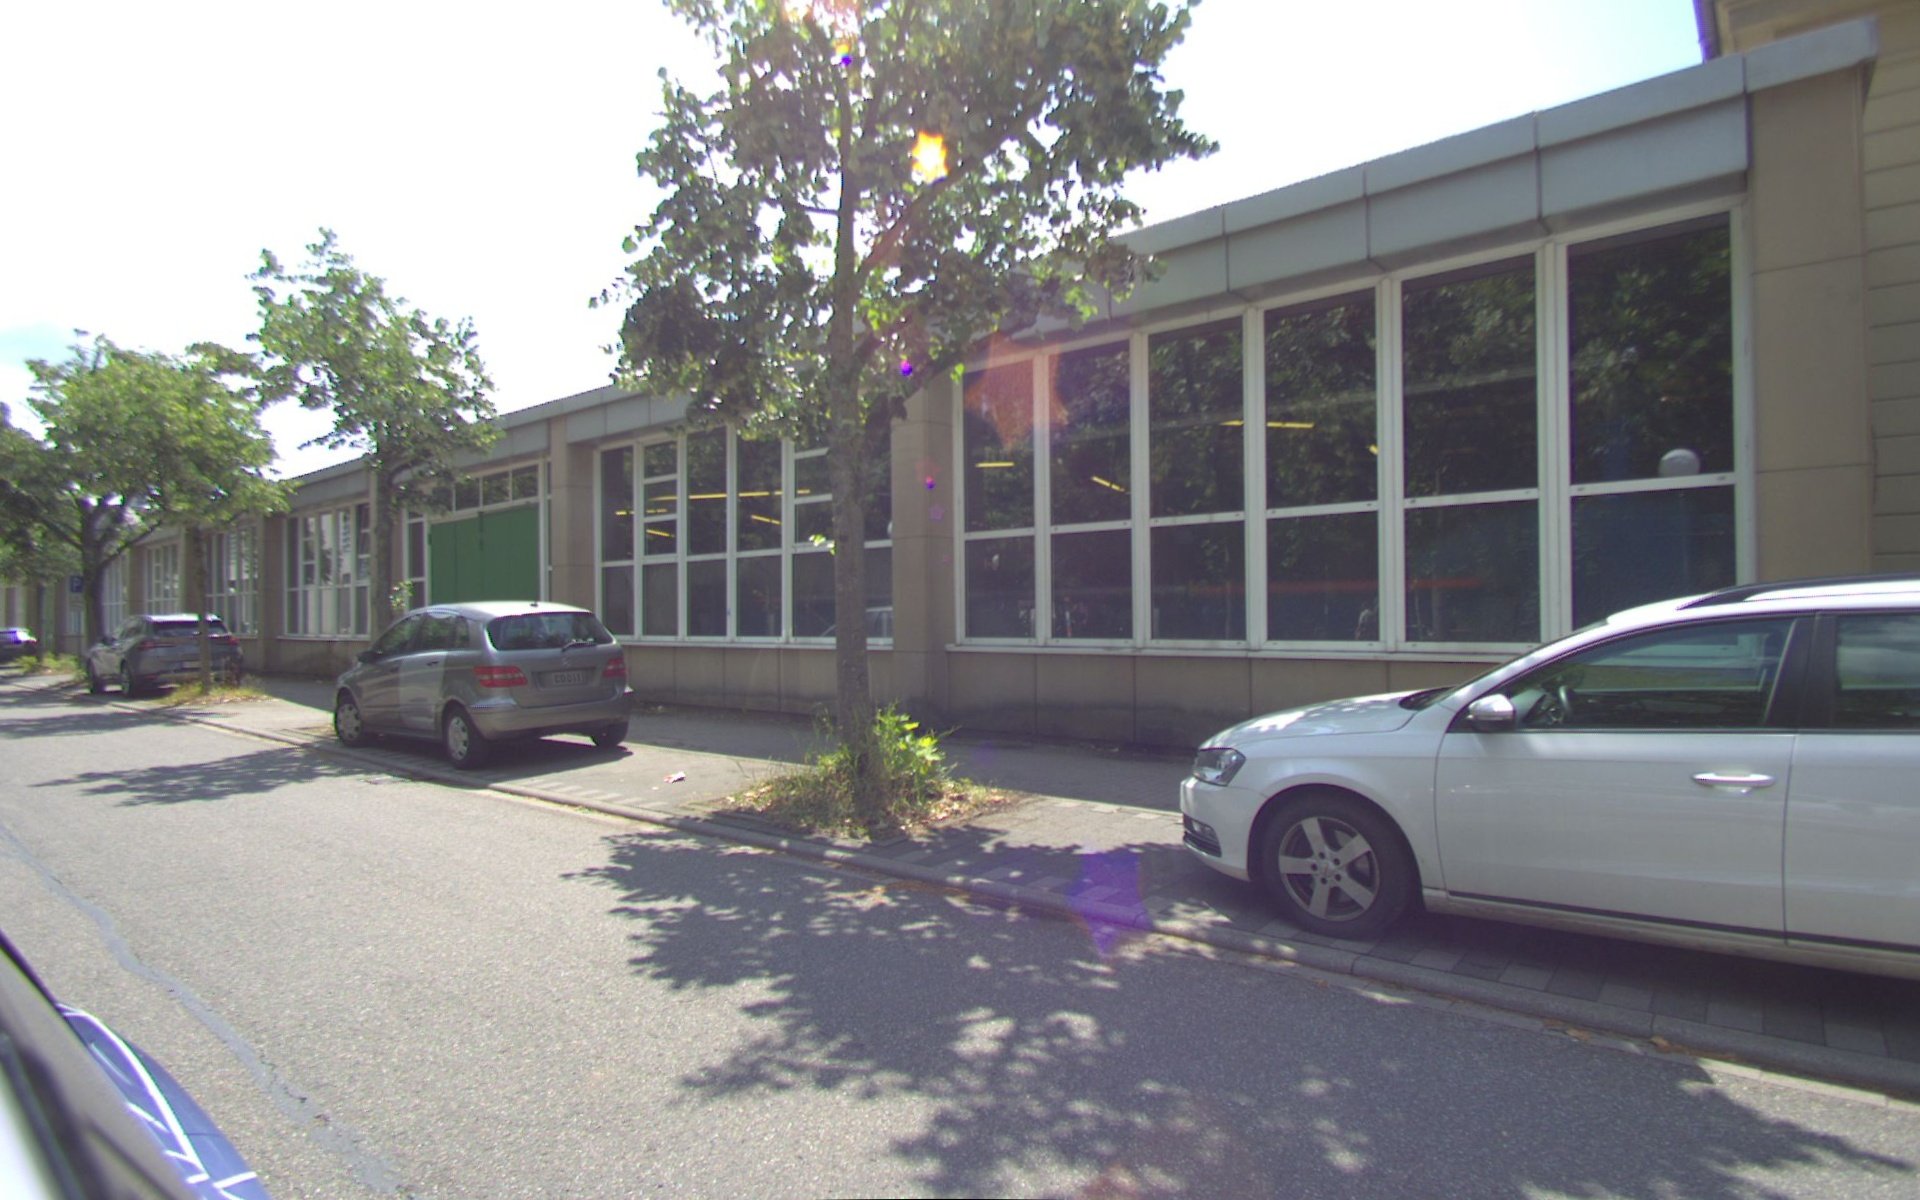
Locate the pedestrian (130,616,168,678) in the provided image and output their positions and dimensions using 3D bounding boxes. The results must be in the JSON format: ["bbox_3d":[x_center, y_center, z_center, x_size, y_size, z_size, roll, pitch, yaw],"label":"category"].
[{"bbox_3d":[-24.596,1.424,30.703,0.670,1.800,0.779,-3,-1,43],"label":"pedestrian"}]

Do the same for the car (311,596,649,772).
[{"bbox_3d":[-5.428,0.814,11.233,4.108,1.568,1.740,-2,1,39],"label":"car"}]

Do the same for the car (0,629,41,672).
[{"bbox_3d":[-34.988,1.854,36.809,4.285,1.446,1.708,-3,0,40],"label":"car"}]

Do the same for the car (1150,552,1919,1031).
[{"bbox_3d":[3.217,0.571,3.954,4.578,1.467,1.708,-2,1,39],"label":"car"}]

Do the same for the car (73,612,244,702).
[{"bbox_3d":[-17.071,1.152,21.477,4.510,1.644,1.805,-2,1,38],"label":"car"}]

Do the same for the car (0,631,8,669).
[{"bbox_3d":[-39.397,2.026,40.357,3.749,1.460,1.614,-2,1,40],"label":"car"}]
